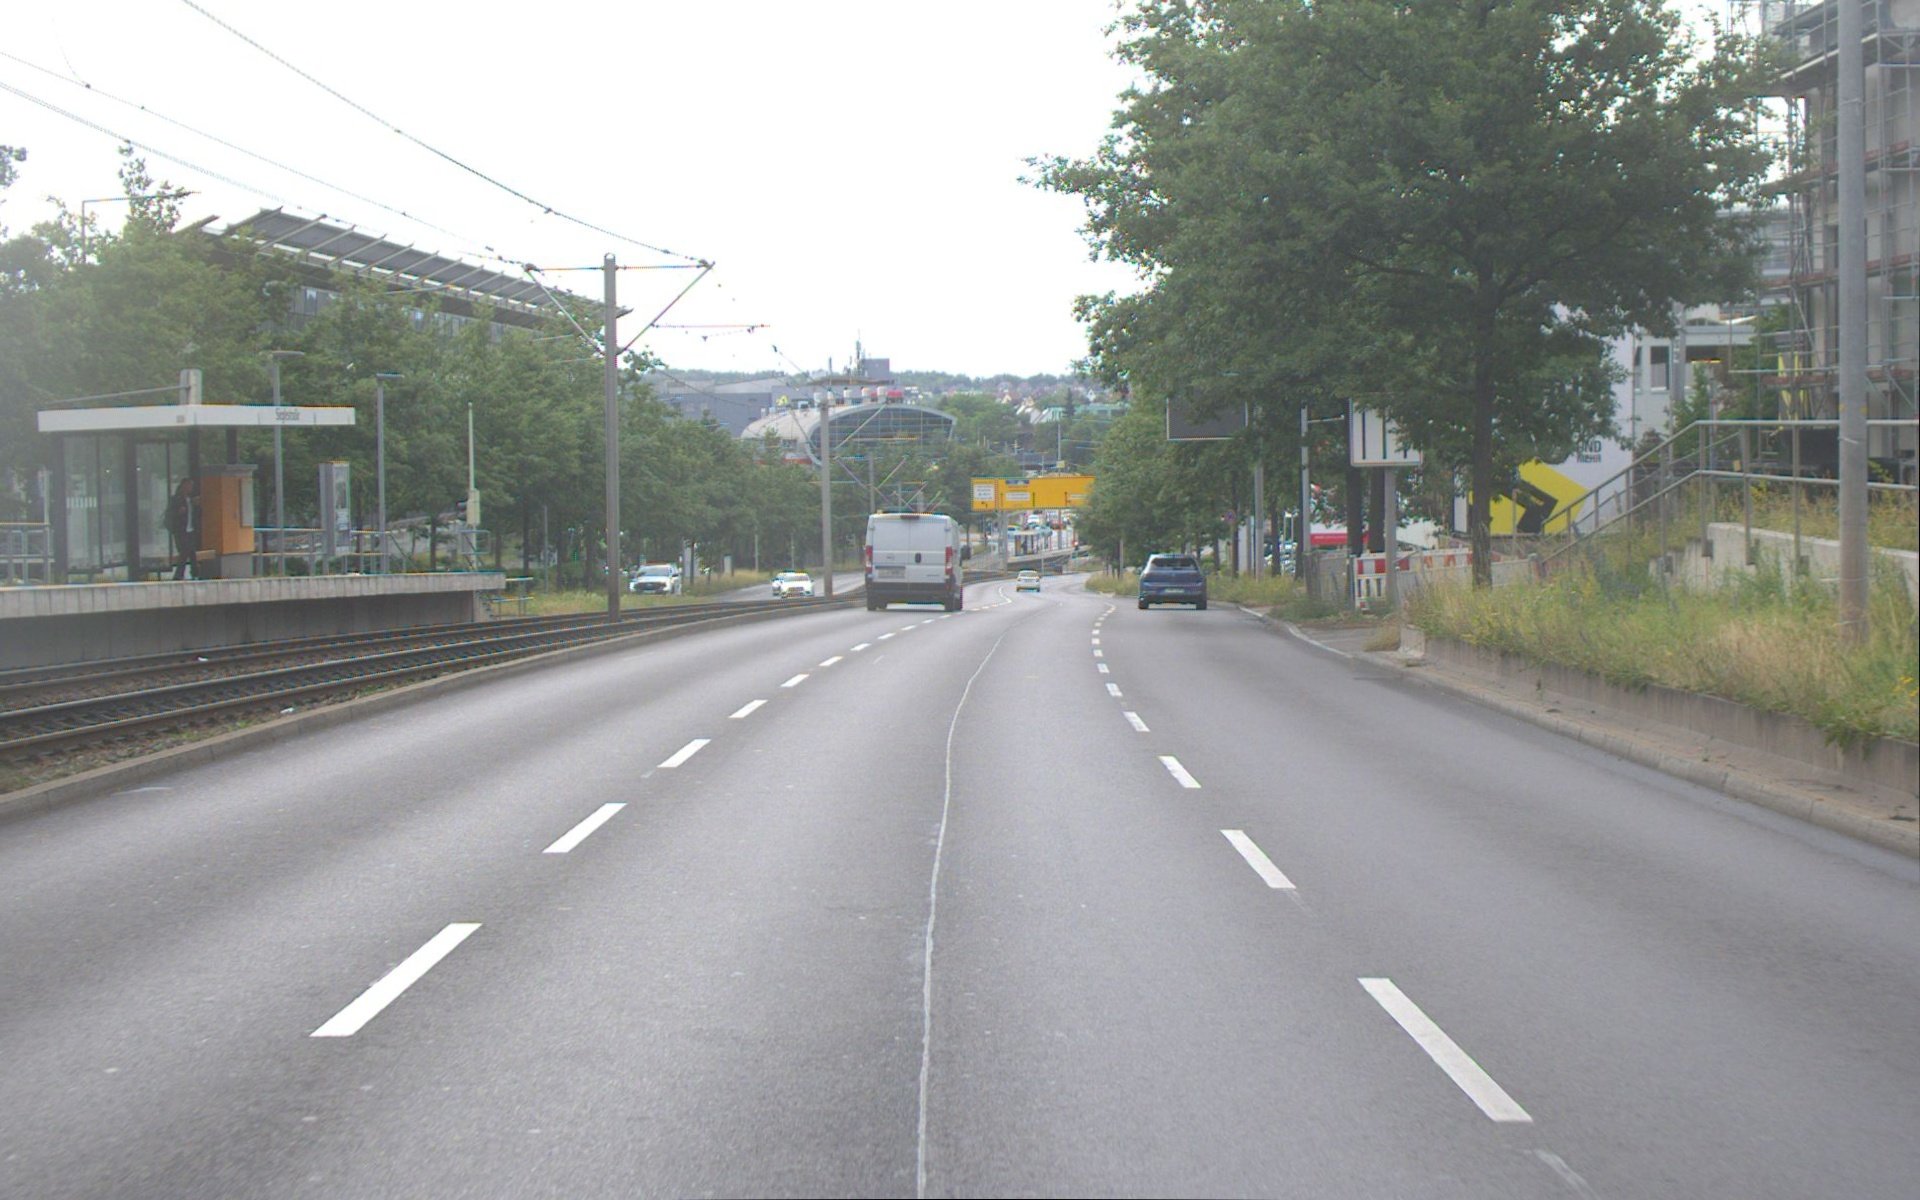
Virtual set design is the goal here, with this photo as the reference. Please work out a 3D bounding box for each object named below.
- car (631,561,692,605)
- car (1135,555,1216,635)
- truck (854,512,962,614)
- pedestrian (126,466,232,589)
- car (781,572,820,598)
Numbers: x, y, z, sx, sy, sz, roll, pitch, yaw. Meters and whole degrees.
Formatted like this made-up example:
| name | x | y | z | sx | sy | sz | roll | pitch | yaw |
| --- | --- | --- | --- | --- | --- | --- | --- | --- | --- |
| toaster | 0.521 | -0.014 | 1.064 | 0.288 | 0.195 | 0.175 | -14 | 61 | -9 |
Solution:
| name | x | y | z | sx | sy | sz | roll | pitch | yaw |
| --- | --- | --- | --- | --- | --- | --- | --- | --- | --- |
| car | -13.103 | -0.759 | 151.155 | 1.994 | 1.840 | 5.001 | -1 | 1 | 2 |
| car | 5.620 | -0.140 | 90.080 | 1.994 | 2.007 | 3.934 | 1 | 0 | 3 |
| truck | -1.182 | -0.847 | 80.681 | 2.360 | 2.254 | 5.305 | 1 | 0 | 0 |
| pedestrian | -13.036 | -1.203 | 57.376 | 1.129 | 2.007 | 1.267 | 1 | 0 | 45 |
| car | -9.168 | -0.861 | 197.934 | 1.837 | 1.439 | 4.428 | -2 | 0 | 3 |
